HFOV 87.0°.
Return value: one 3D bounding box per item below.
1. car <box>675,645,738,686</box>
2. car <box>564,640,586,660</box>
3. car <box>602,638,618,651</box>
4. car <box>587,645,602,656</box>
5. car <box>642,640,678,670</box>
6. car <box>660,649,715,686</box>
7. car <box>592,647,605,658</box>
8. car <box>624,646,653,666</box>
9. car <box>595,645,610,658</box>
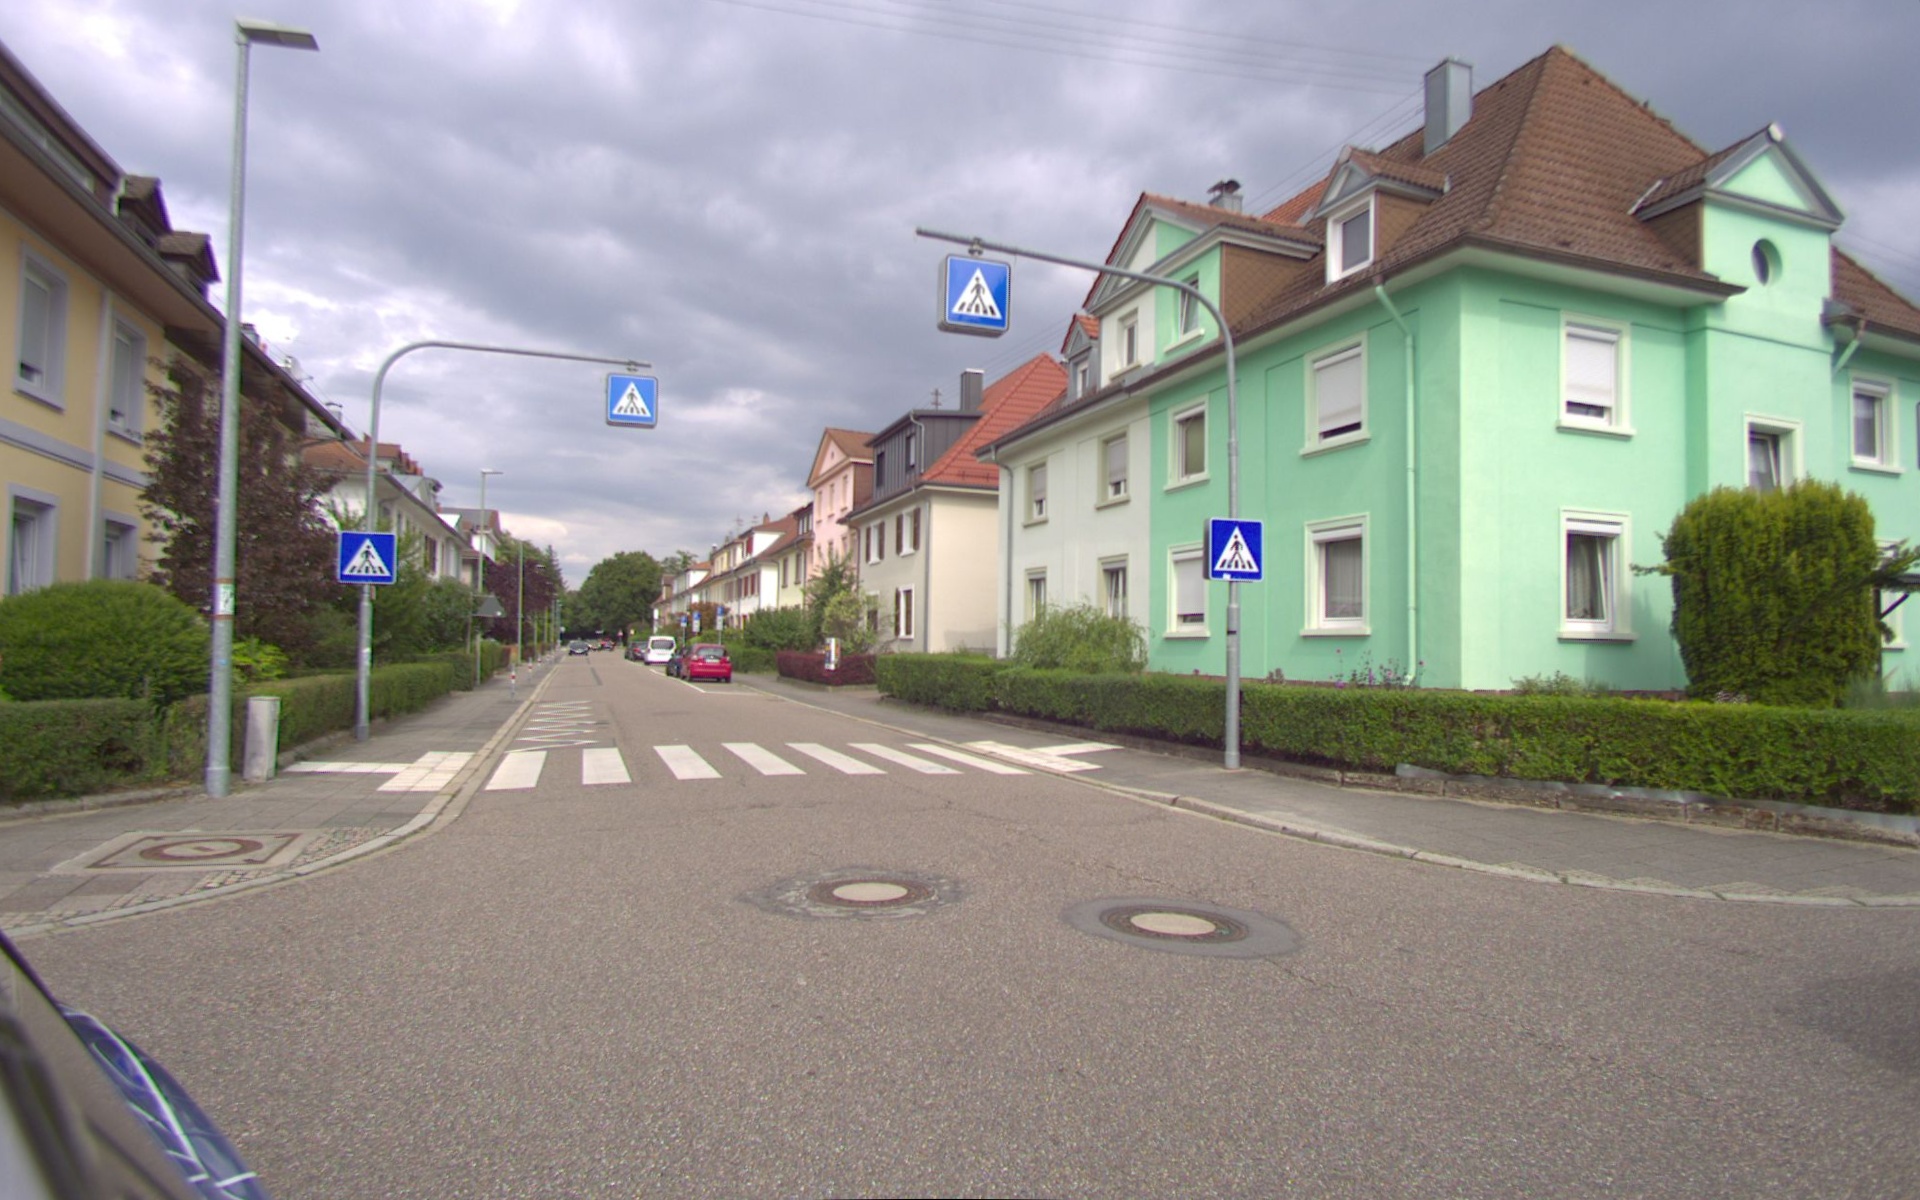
[{"bbox_3d":[-10.249,2.615,40.776,1.965,1.586,4.013,2,-3,-21],"label":"car"},{"bbox_3d":[-39.135,5.076,102.866,1.965,2.029,4.013,2,-3,-21],"label":"car"},{"bbox_3d":[-50.509,6.465,146.069,1.705,1.719,4.013,4,-4,-25],"label":"car"},{"bbox_3d":[-52.149,7.147,144.489,1.805,1.497,4.013,3,-4,-22],"label":"car"},{"bbox_3d":[-19.993,3.678,67.299,1.965,1.918,4.013,2,-3,-21],"label":"car"},{"bbox_3d":[-12.321,2.995,45.586,1.965,1.586,4.013,2,-3,-21],"label":"car"},{"bbox_3d":[-58.433,8.539,163.456,1.772,1.667,4.012,3,-4,-20],"label":"car"},{"bbox_3d":[-26.103,4.553,82.080,1.965,1.586,4.013,2,-3,-21],"label":"car"},{"bbox_3d":[-55.242,7.949,156.192,1.965,2.029,4.012,3,-4,-20],"label":"car"}]
